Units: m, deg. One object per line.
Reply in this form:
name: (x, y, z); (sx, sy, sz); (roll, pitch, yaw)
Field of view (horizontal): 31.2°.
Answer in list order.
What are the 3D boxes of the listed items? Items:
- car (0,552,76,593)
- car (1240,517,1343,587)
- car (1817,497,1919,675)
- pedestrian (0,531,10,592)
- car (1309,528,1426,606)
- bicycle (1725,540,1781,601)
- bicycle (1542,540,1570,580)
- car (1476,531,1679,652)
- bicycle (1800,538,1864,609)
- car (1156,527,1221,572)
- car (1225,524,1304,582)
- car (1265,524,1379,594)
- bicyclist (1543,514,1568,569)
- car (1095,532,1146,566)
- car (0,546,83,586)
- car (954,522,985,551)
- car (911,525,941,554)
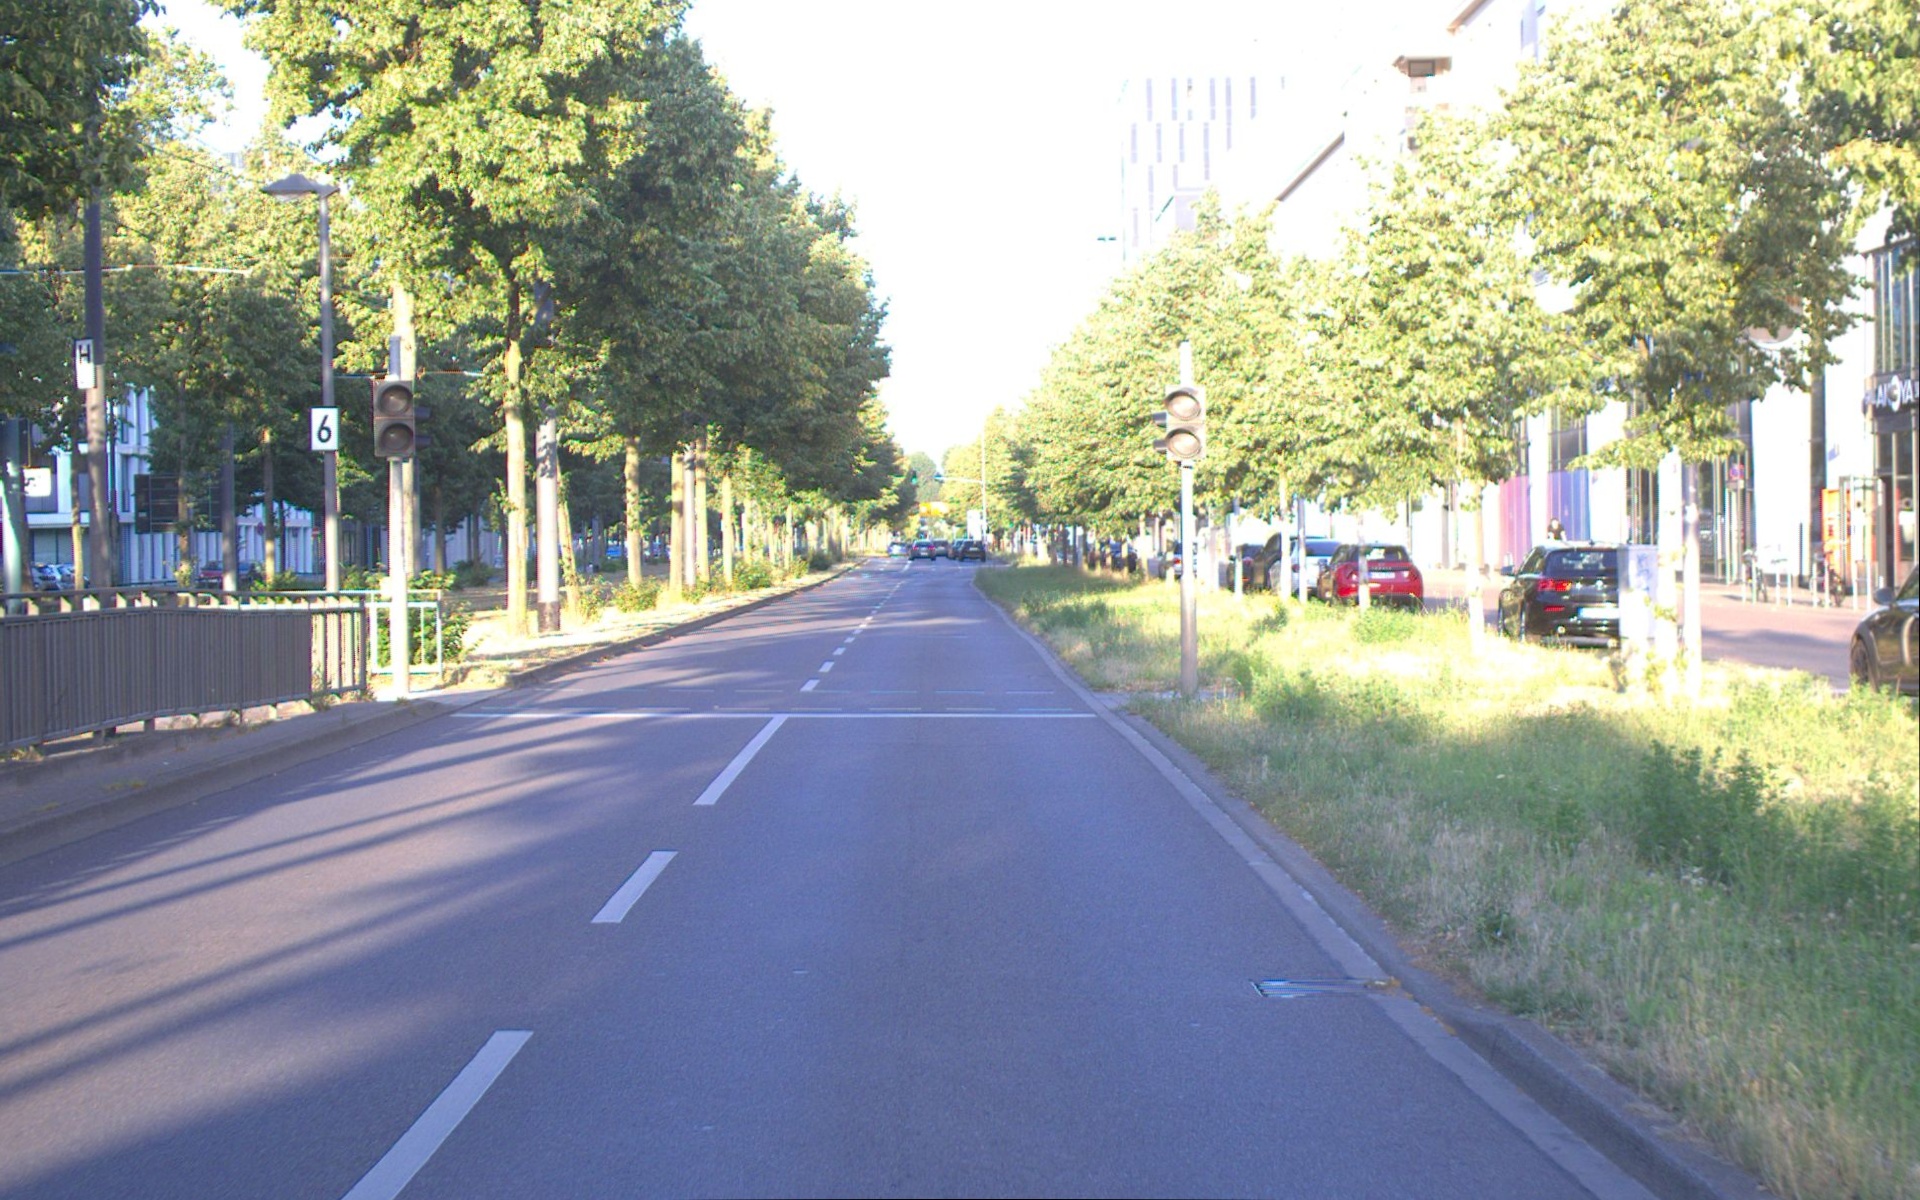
car: (-38.751, -1.151, 142.003); (3.986, 1.634, 1.922); (-1, 1, -3)
car: (8.087, -1.186, 84.267); (1.953, 1.618, 4.821); (1, 1, -1)
car: (8.359, -0.126, 27.834); (1.749, 1.393, 4.000); (0, 1, -1)
pedestrian: (-27.421, -1.090, 97.551); (0.693, 1.737, 0.866); (-1, 1, -2)
car: (8.166, -0.682, 69.178); (1.808, 1.495, 3.960); (-1, 1, -1)
bicycle: (15.293, -0.574, 66.306); (0.546, 1.124, 1.869); (-2, 1, -2)
bicycle: (16.824, -1.134, 97.126); (0.543, 1.114, 1.913); (-1, 1, 3)
car: (8.087, -0.150, 45.385); (1.808, 1.495, 4.369); (-1, 1, -1)
bicycle: (15.362, -0.470, 60.599); (0.617, 1.227, 1.671); (-1, 1, -2)
car: (7.810, -1.744, 118.001); (1.808, 1.495, 4.826); (-1, 1, -1)
car: (8.085, -1.264, 91.650); (1.724, 1.495, 4.233); (0, 1, 0)
car: (8.053, -0.946, 76.828); (1.920, 1.495, 5.010); (-1, 1, -1)
bicyclist: (16.819, -1.653, 97.130); (0.544, 1.563, 1.020); (-1, 1, 3)
car: (7.534, -2.399, 161.855); (1.943, 1.543, 4.812); (-1, 1, -2)
car: (-39.121, -1.424, 144.633); (3.986, 1.634, 1.922); (-1, 1, -3)
car: (0.649, -4.372, 236.609); (1.993, 2.007, 4.000); (-1, 1, -1)
car: (-2.403, -4.265, 241.160); (2.087, 2.007, 4.000); (-1, 1, -1)
